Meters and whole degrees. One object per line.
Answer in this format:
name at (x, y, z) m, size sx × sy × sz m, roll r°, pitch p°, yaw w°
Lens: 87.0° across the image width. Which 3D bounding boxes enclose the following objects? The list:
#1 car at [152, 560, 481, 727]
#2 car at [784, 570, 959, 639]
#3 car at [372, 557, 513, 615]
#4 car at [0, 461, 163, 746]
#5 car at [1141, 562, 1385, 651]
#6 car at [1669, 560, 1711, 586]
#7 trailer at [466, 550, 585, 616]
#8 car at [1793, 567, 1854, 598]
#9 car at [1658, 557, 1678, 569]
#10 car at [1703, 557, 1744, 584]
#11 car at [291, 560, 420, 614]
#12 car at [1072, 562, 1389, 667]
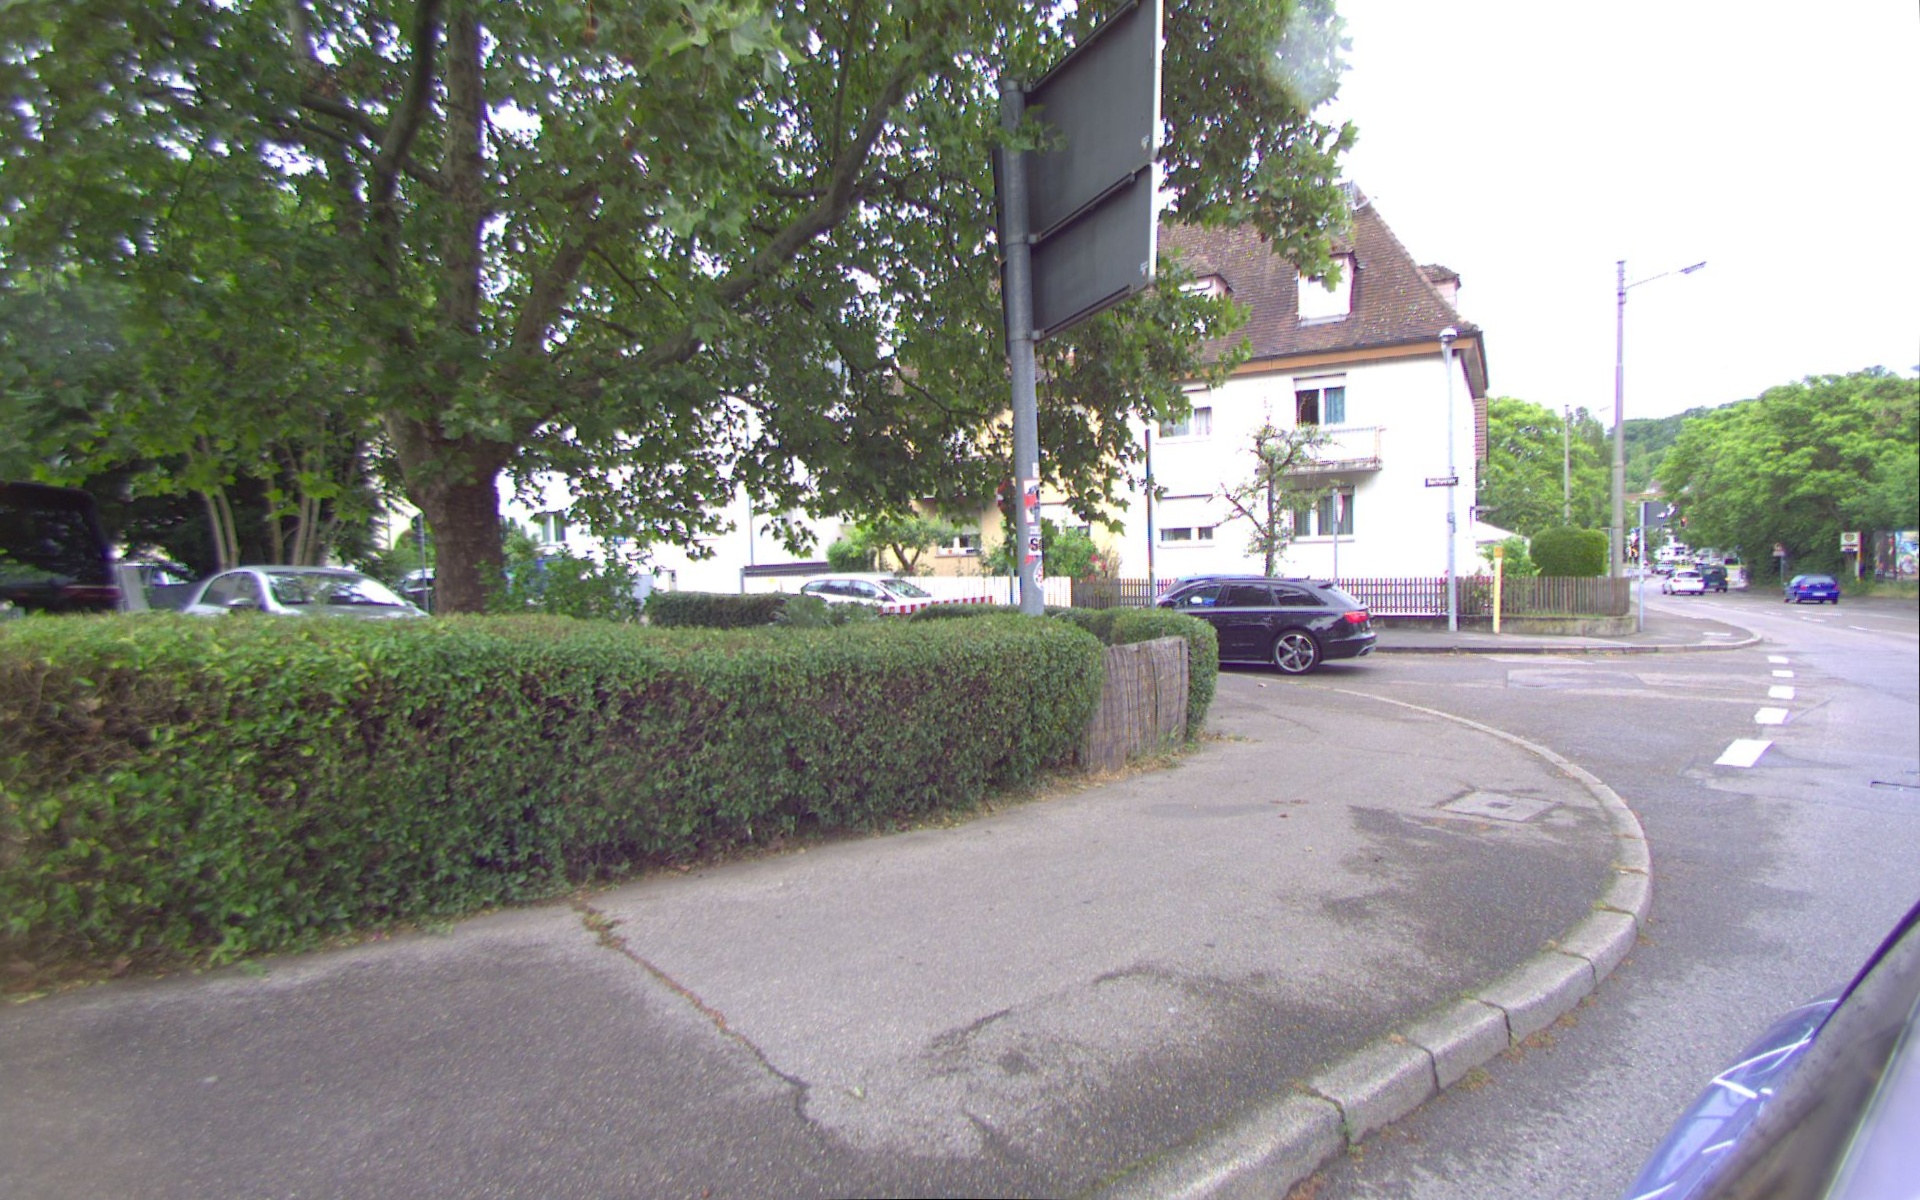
car at (-7.427, 0.359, 11.586) m, size 3.974 × 1.599 × 1.800 m, roll 1°, pitch 2°, yaw 35°
car at (-2.063, 0.054, 23.408) m, size 3.752 × 1.471 × 1.754 m, roll 1°, pitch 1°, yaw 30°
car at (-17.488, -0.503, 34.186) m, size 4.535 × 1.862 × 1.982 m, roll 1°, pitch 2°, yaw 28°
car at (-8.518, -0.002, 7.990) m, size 4.376 × 1.956 × 1.980 m, roll 1°, pitch 2°, yaw 29°
car at (5.706, 0.051, 19.158) m, size 4.095 × 1.498 × 1.865 m, roll 2°, pitch 2°, yaw 32°
car at (47.927, -1.811, 66.507) m, size 1.822 × 1.598 × 4.287 m, roll 0°, pitch 2°, yaw 31°
trailer at (-13.906, -0.561, 32.379) m, size 3.456 × 2.038 × 1.657 m, roll 1°, pitch 1°, yaw 26°
car at (42.143, -0.837, 49.479) m, size 1.589 × 1.444 × 3.657 m, roll -1°, pitch 0°, yaw 30°
car at (86.032, -4.490, 123.021) m, size 1.888 × 1.479 × 3.951 m, roll 1°, pitch 2°, yaw 34°
car at (56.164, -2.178, 74.506) m, size 1.949 × 1.955 × 4.631 m, roll 1°, pitch 2°, yaw 32°
car at (-22.057, -0.517, 36.901) m, size 4.535 × 1.862 × 1.982 m, roll 1°, pitch 2°, yaw 28°
car at (4.391, 0.146, 16.553) m, size 4.768 × 1.498 × 1.870 m, roll 1°, pitch 2°, yaw 25°
